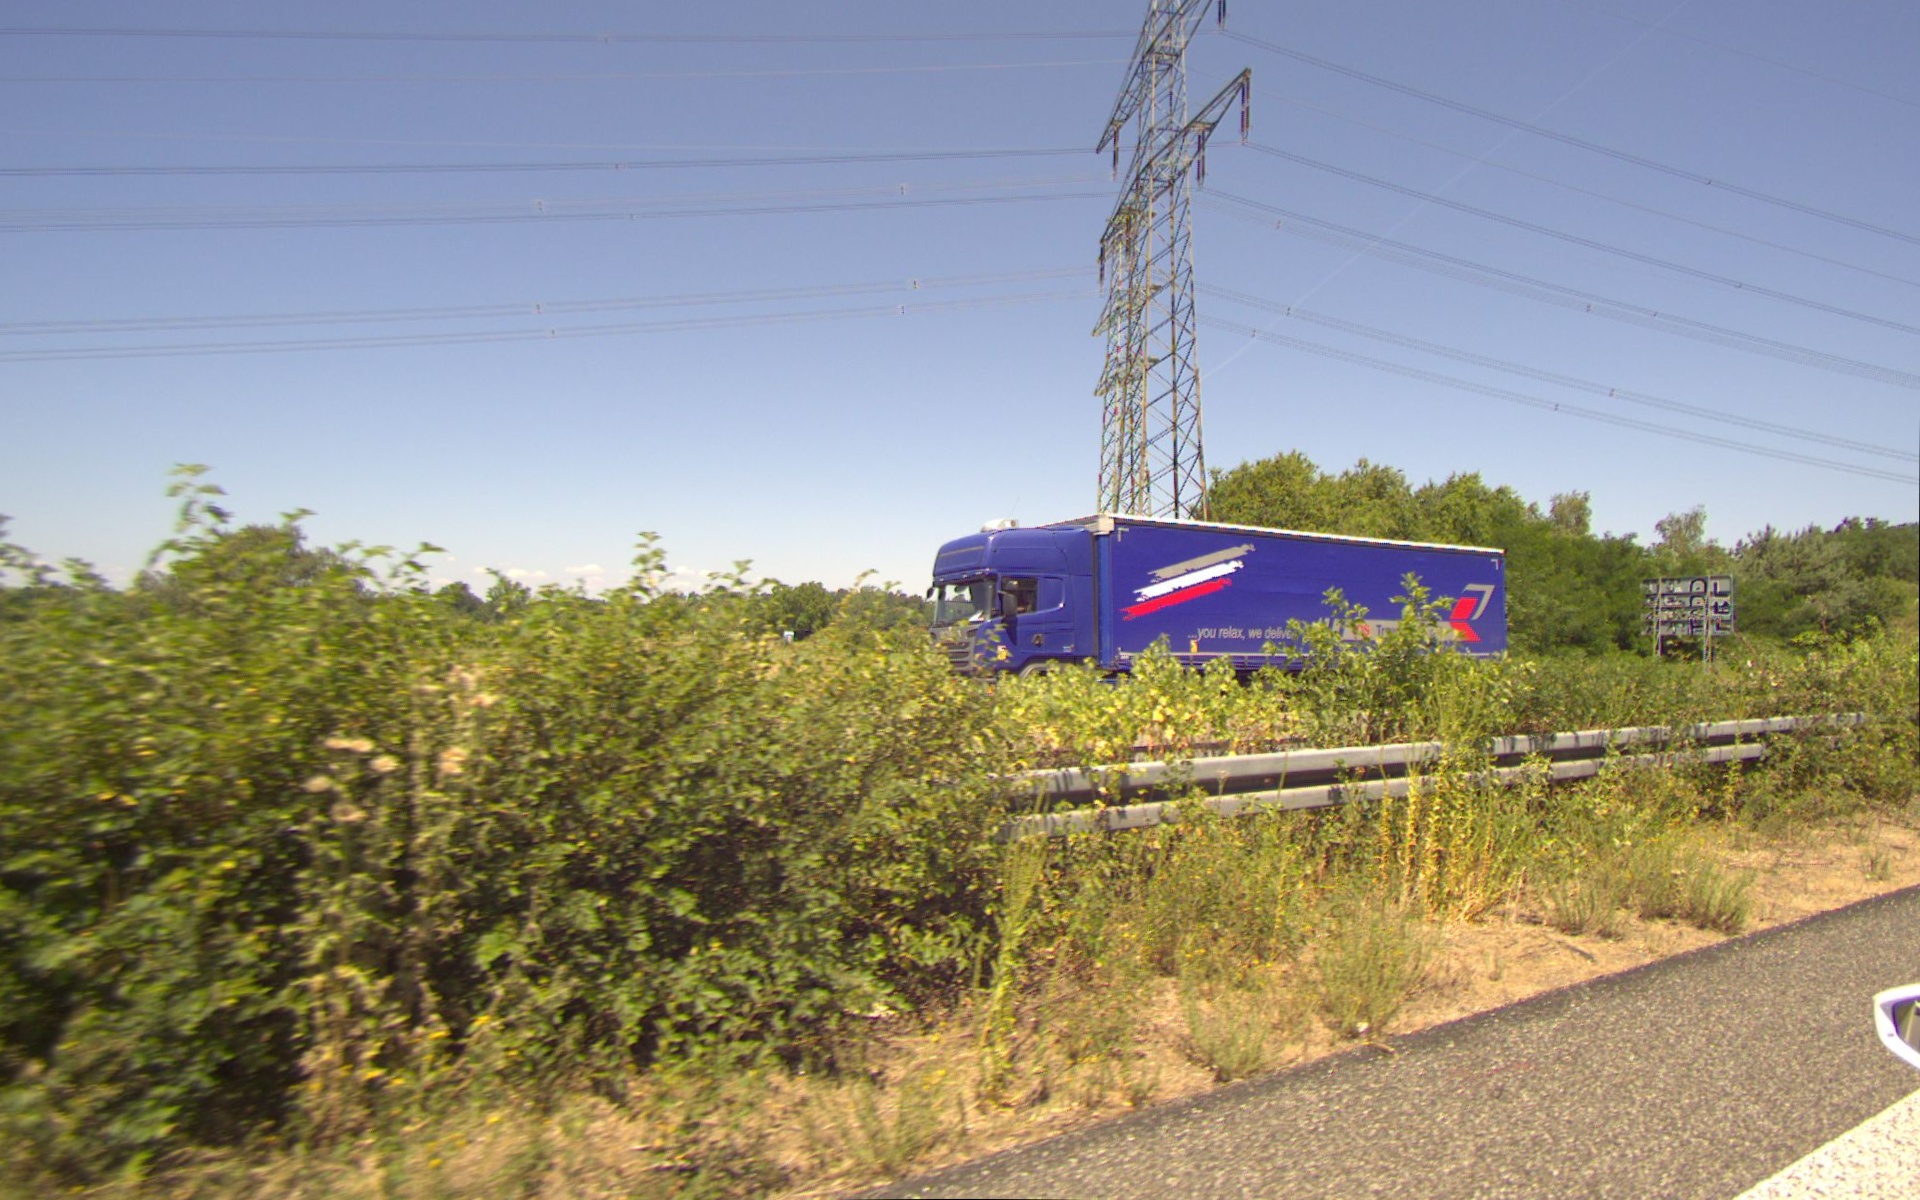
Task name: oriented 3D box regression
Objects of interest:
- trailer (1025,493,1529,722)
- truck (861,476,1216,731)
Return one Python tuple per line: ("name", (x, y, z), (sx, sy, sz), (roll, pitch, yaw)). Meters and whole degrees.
("trailer", (8.259, 0.384, 24.492), (14.065, 4.465, 3.074), (2, -3, -30))
("truck", (1.664, 0.209, 20.613), (6.721, 4.465, 3.074), (2, -3, -30))
